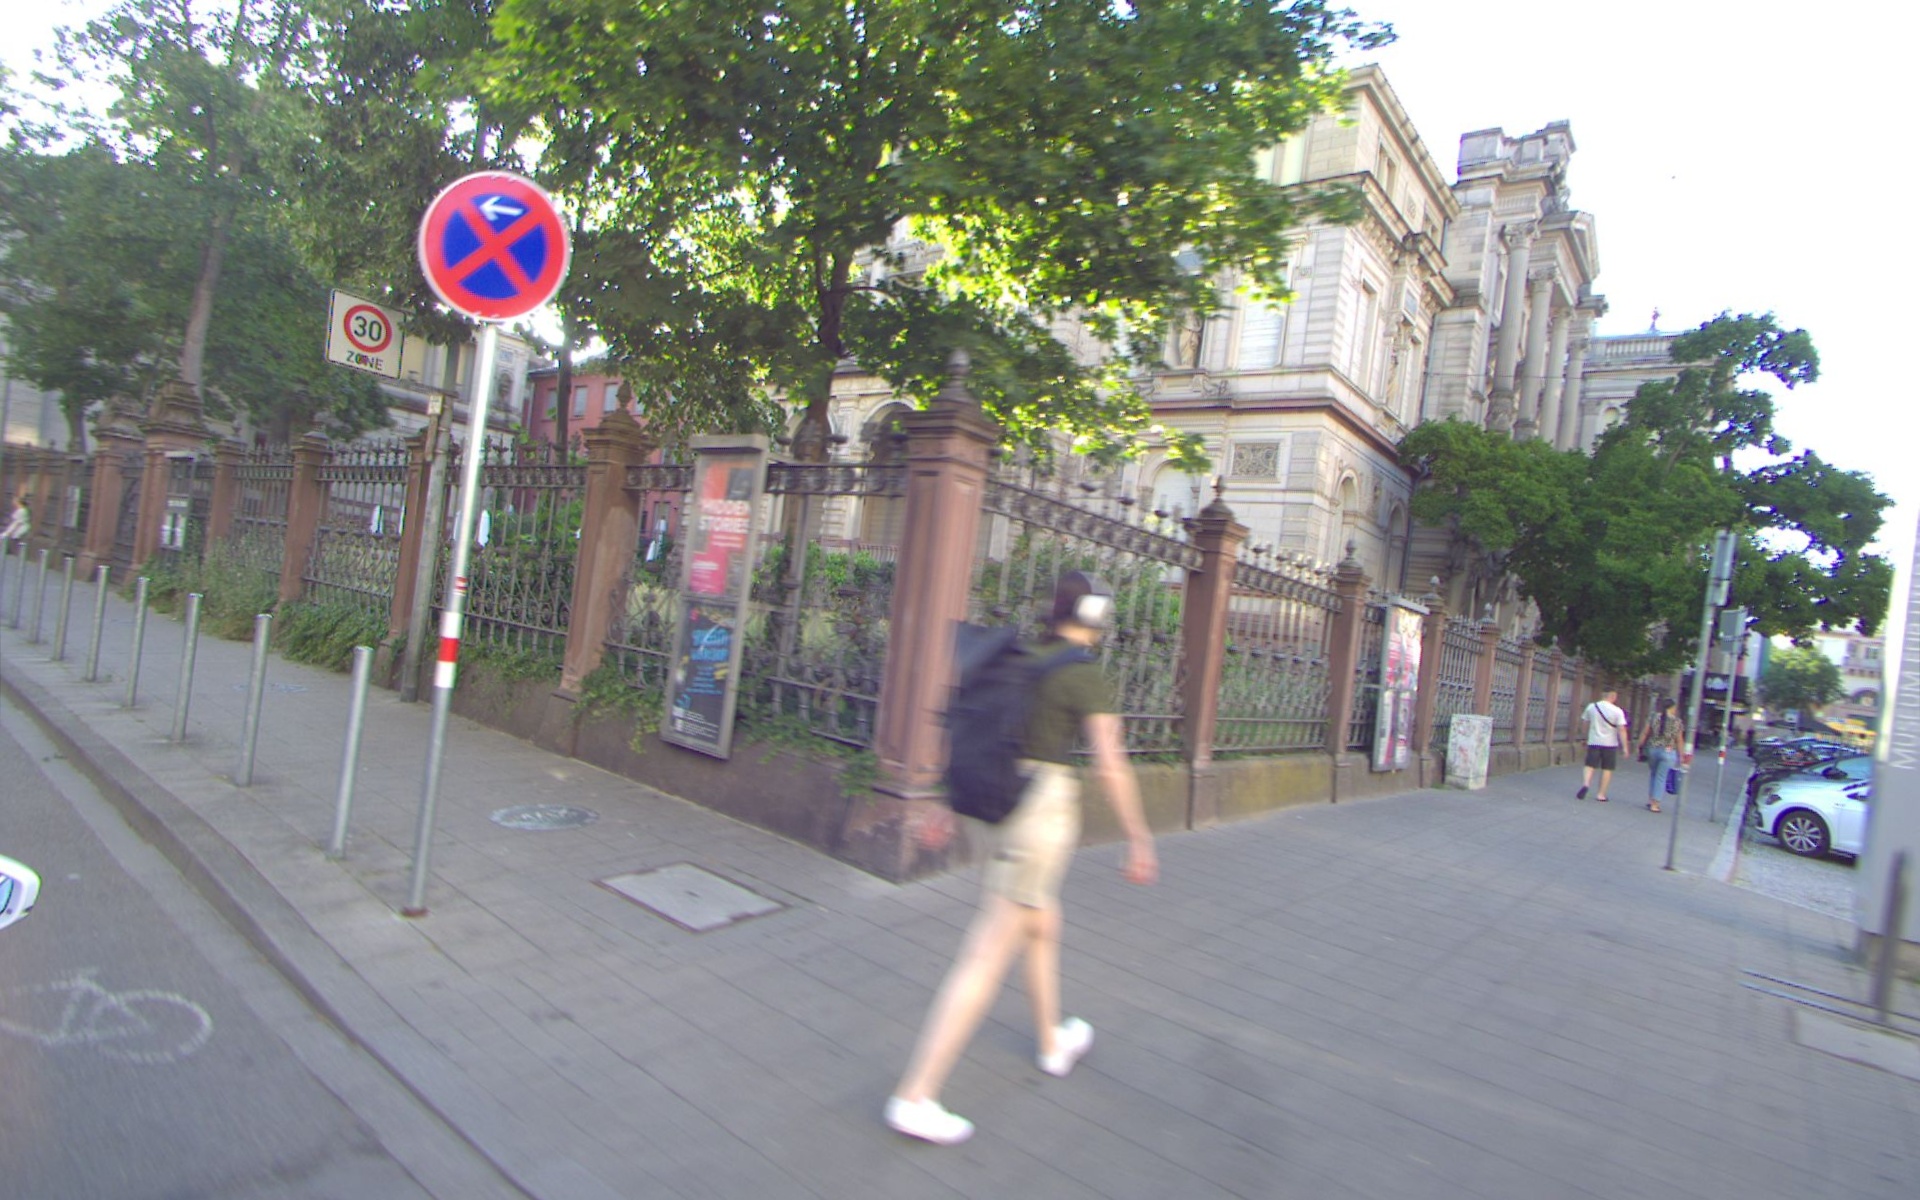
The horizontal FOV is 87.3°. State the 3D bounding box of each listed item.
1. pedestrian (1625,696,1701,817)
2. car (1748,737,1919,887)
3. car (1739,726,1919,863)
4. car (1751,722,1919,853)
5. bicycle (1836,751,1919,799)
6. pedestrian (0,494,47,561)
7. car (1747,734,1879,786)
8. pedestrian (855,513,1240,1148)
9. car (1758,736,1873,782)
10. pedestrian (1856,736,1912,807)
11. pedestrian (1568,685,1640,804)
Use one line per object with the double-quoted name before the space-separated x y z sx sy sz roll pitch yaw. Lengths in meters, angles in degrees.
"pedestrian" 10.667 2.353 15.298 0.631 1.690 0.705 9 0 26
"car" 12.861 2.971 12.858 1.732 1.466 3.886 8 3 -22
"car" 14.615 3.116 15.232 1.732 1.545 3.977 8 1 -22
"car" 16.273 3.315 17.156 1.728 1.742 3.988 7 0 -14
"bicycle" 27.898 5.284 30.207 2.267 1.103 0.715 6 -1 37
"pedestrian" -23.264 -1.791 24.919 0.609 1.519 0.749 7 1 35
"car" 34.930 6.532 41.312 3.944 1.429 1.748 6 -2 41
"pedestrian" 0.238 0.682 3.164 0.832 1.743 0.635 7 0 -16
"car" 39.906 7.402 47.026 3.944 1.429 1.748 6 -2 41
"pedestrian" 25.584 4.731 27.880 0.960 1.771 0.998 7 -1 42
"pedestrian" 9.881 2.191 15.452 0.631 1.690 0.705 9 0 26
